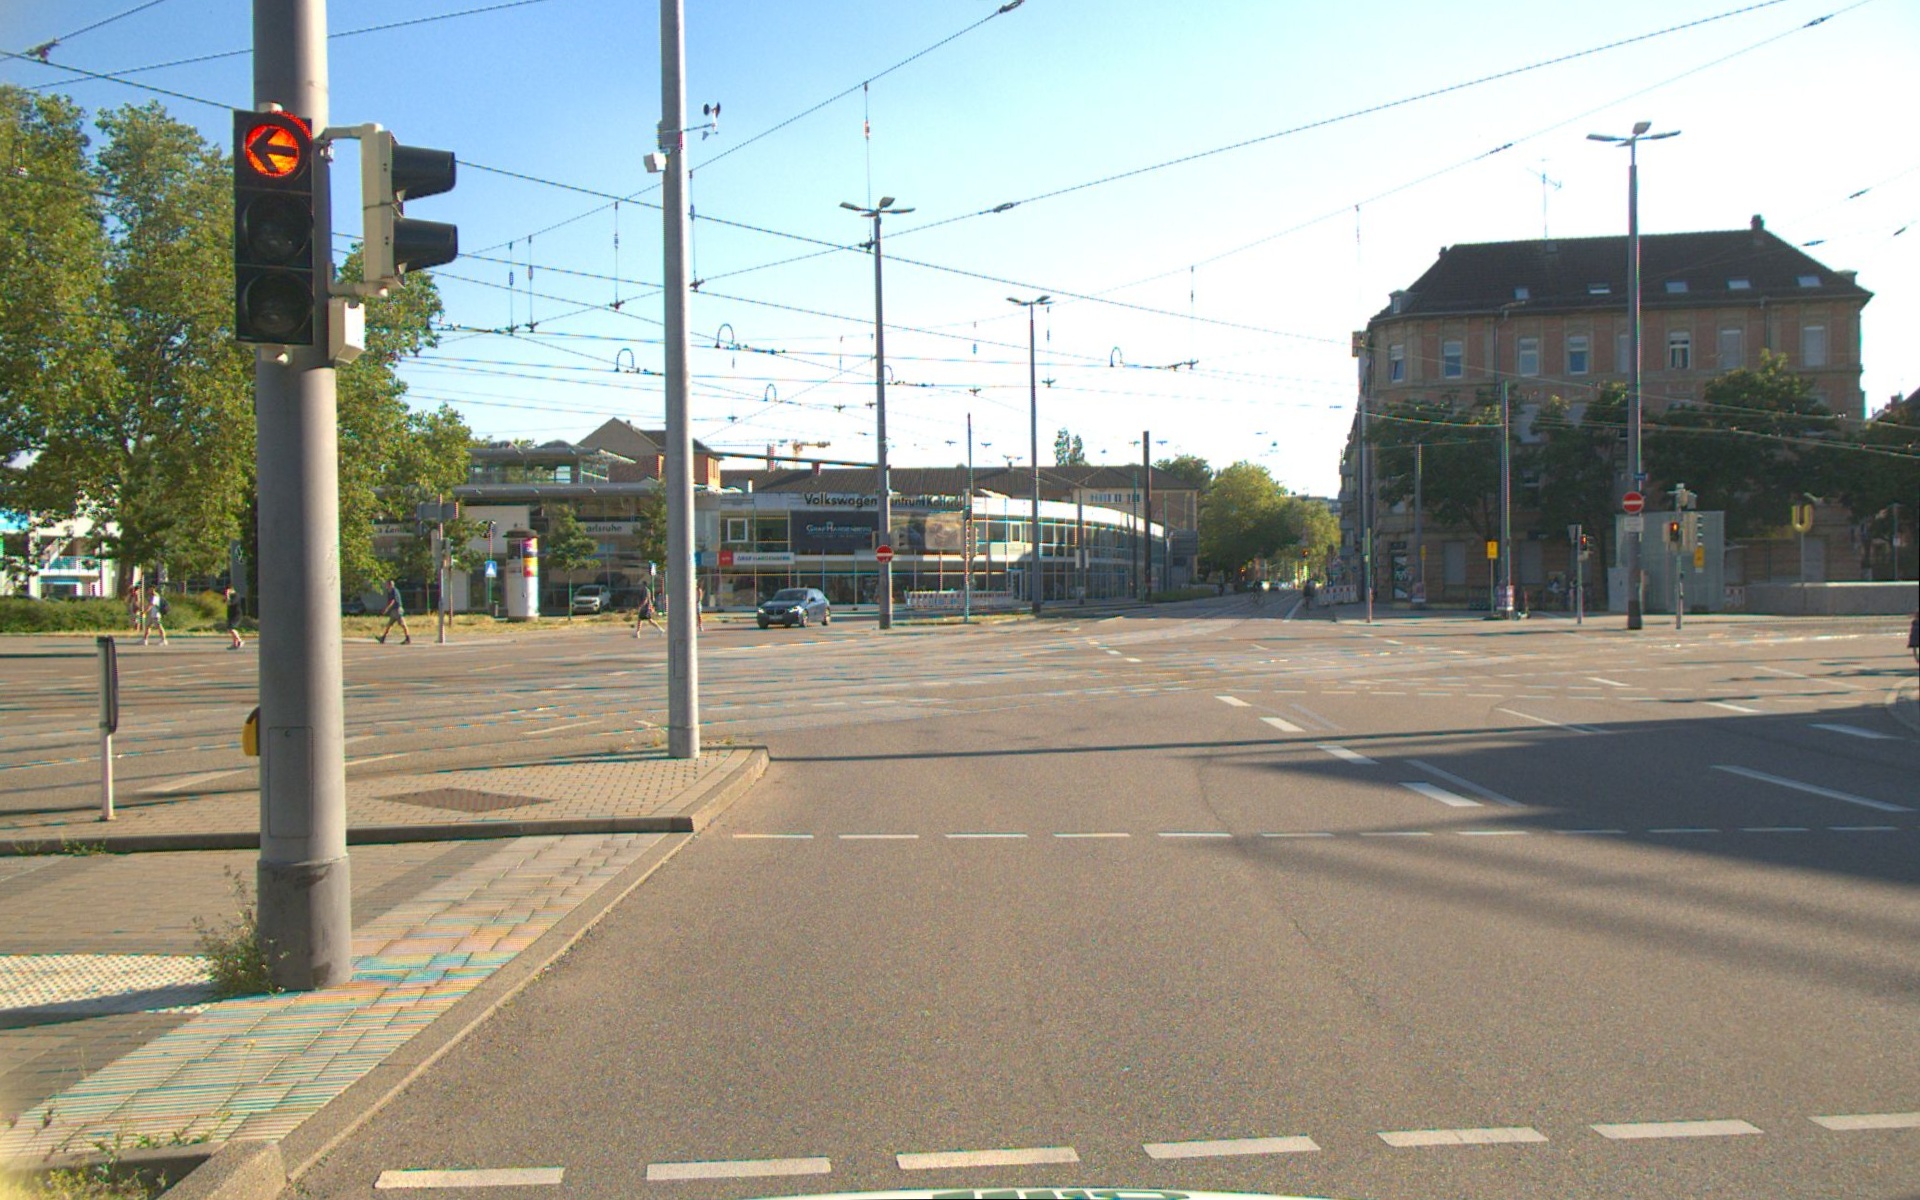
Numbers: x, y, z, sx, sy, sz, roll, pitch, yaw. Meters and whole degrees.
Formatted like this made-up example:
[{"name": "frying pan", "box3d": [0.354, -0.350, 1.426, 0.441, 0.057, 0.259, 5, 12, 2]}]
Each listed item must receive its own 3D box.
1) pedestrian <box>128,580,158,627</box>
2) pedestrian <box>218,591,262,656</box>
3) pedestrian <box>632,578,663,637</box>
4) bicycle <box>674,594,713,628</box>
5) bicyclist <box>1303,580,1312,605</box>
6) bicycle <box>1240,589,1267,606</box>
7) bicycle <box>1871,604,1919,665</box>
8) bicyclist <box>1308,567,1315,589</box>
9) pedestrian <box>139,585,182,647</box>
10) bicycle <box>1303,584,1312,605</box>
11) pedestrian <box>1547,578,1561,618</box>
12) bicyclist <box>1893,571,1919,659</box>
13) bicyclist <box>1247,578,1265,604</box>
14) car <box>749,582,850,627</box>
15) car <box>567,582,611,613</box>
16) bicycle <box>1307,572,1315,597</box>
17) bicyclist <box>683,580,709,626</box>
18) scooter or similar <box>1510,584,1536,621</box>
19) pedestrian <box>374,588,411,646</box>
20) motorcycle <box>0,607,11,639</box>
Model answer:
[{"name": "pedestrian", "box3d": [-30.714, 0.130, 62.181, 0.839, 1.723, 0.496, 1, -1, -3]}, {"name": "pedestrian", "box3d": [-19.390, 0.625, 44.580, 0.777, 1.736, 0.759, 1, -1, 6]}, {"name": "pedestrian", "box3d": [-10.210, 0.249, 54.054, 0.777, 1.919, 0.759, 1, -1, 6]}, {"name": "bicycle", "box3d": [-9.572, 0.407, 59.491, 0.599, 1.210, 1.870, 1, 0, 17]}, {"name": "bicyclist", "box3d": [16.011, -0.344, 76.245, 0.399, 1.136, 0.399, 1, -1, 11]}, {"name": "bicycle", "box3d": [17.803, -0.150, 100.311, 0.654, 0.969, 1.574, 1, -1, -43]}, {"name": "bicycle", "box3d": [17.622, 0.646, 30.080, 0.524, 1.067, 2.316, 1, 1, -9]}, {"name": "bicyclist", "box3d": [29.257, -1.828, 137.692, 0.586, 1.840, 0.828, 1, -1, 12]}, {"name": "pedestrian", "box3d": [-22.796, 0.458, 47.151, 0.777, 1.736, 0.759, 1, -1, 6]}, {"name": "bicycle", "box3d": [16.010, -0.244, 76.245, 0.401, 0.958, 1.847, 1, 0, 12]}, {"name": "pedestrian", "box3d": [30.869, -0.093, 85.984, 0.589, 2.049, 0.647, -1, 0, 14]}, {"name": "bicyclist", "box3d": [17.609, 0.279, 30.208, 0.505, 1.584, 0.945, 1, 0, -9]}, {"name": "bicyclist", "box3d": [17.889, -0.548, 100.108, 0.767, 1.604, 0.750, 1, -1, -42]}, {"name": "car", "box3d": [-5.948, 0.168, 61.680, 1.954, 1.613, 3.996, 1, 0, 26]}, {"name": "car", "box3d": [-22.181, -0.142, 99.002, 1.954, 1.780, 3.997, 1, 0, -4]}, {"name": "bicycle", "box3d": [29.251, -1.299, 137.860, 0.604, 2.049, 2.402, 1, 0, 13]}, {"name": "bicyclist", "box3d": [-9.517, 0.097, 59.658, 0.585, 1.644, 0.823, 1, -1, 16]}, {"name": "scooter or similar", "box3d": [21.609, 0.098, 63.536, 0.769, 1.400, 1.910, 1, 0, 13]}, {"name": "pedestrian", "box3d": [-17.138, 0.520, 49.965, 0.777, 1.736, 0.759, 1, -1, 6]}, {"name": "motorcycle", "box3d": [-28.919, 0.671, 48.509, 1.748, 0.930, 0.675, 1, 0, -21]}]
